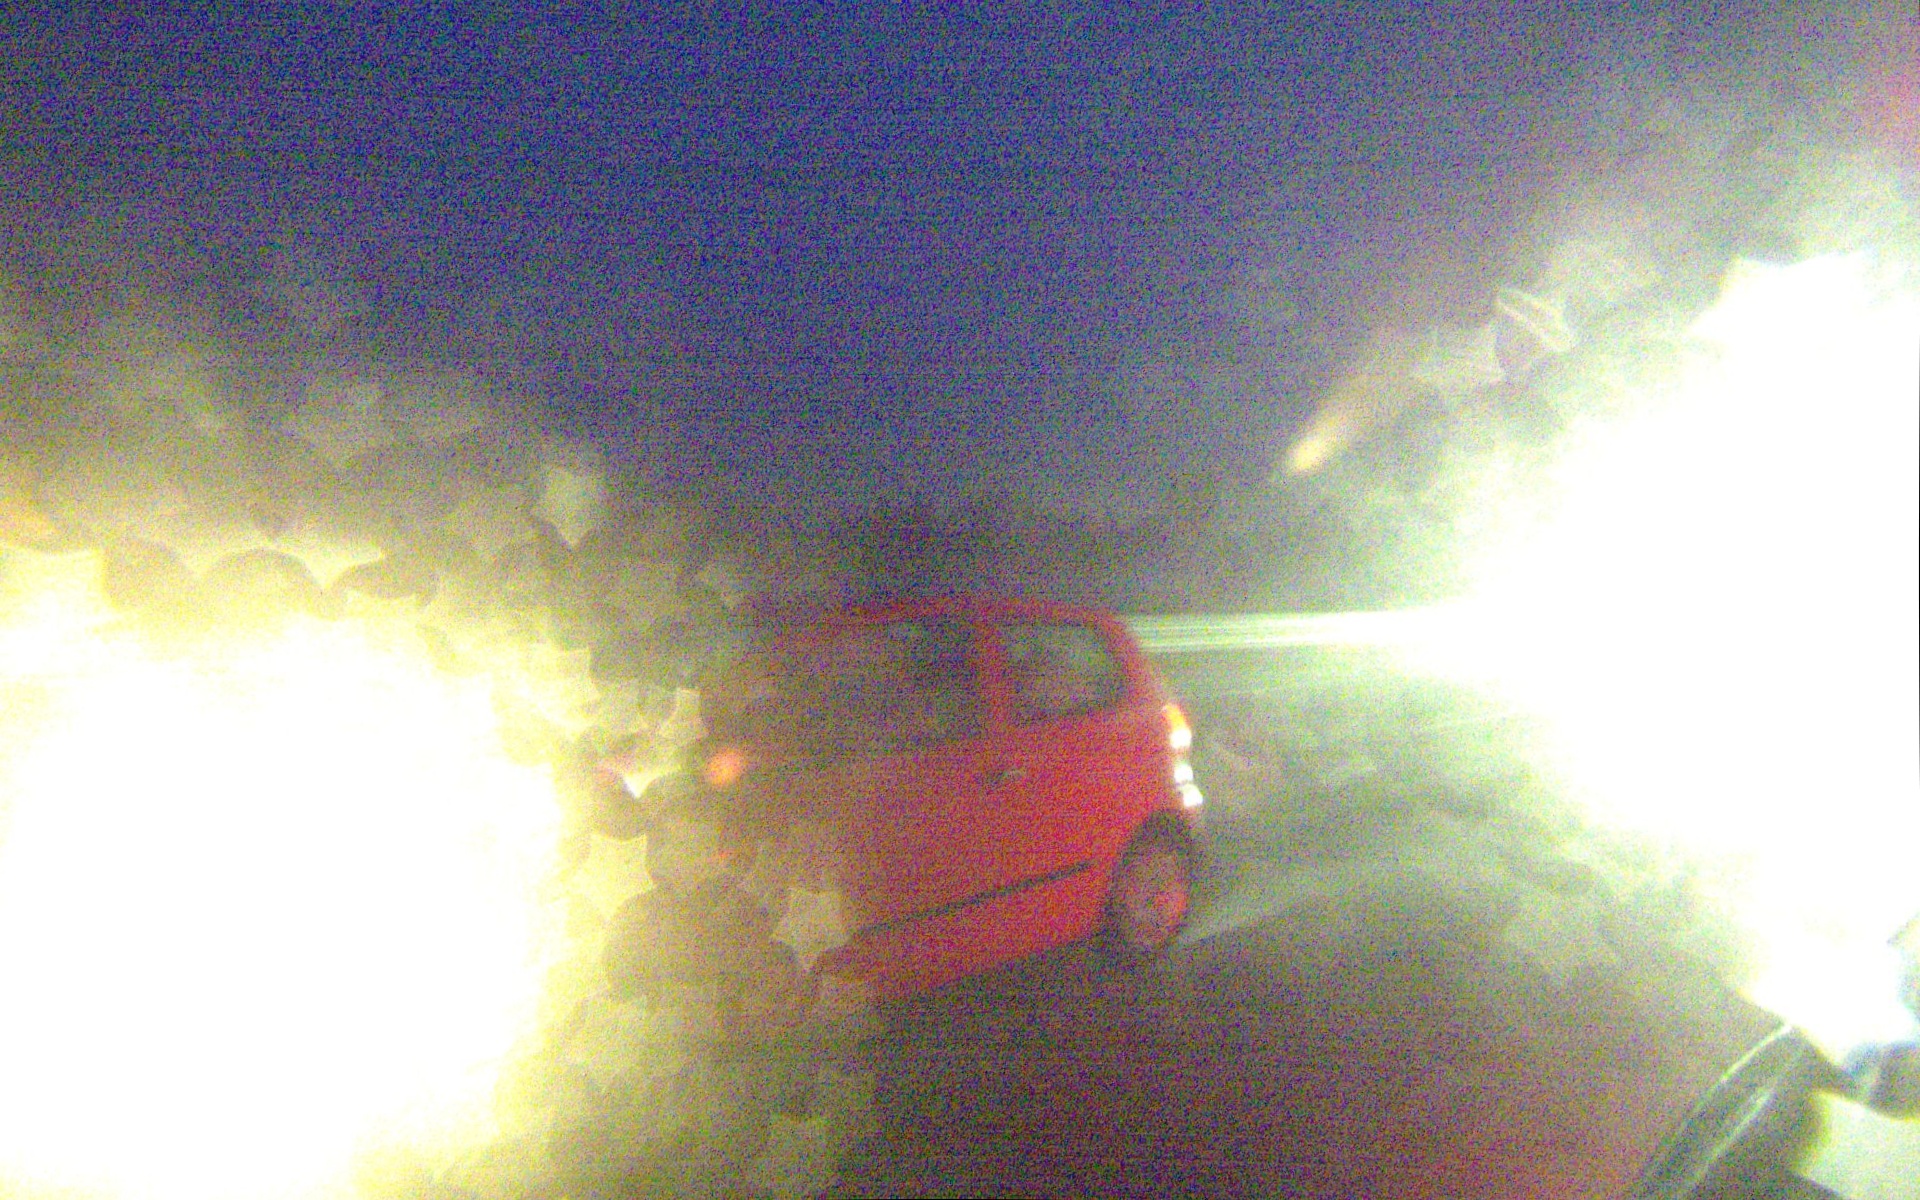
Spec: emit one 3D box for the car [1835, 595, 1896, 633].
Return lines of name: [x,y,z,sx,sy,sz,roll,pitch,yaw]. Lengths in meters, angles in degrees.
car: [38.555,0.568,43.067,3.946,1.522,1.641,0,1,-44]

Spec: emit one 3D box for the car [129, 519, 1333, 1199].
car: [-0.444,0.602,4.044,4.416,1.595,1.743,-1,1,-41]

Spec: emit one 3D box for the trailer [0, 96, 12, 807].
trailer: [-10.627,-0.788,0.821,14.234,4.159,2.909,0,2,-41]
